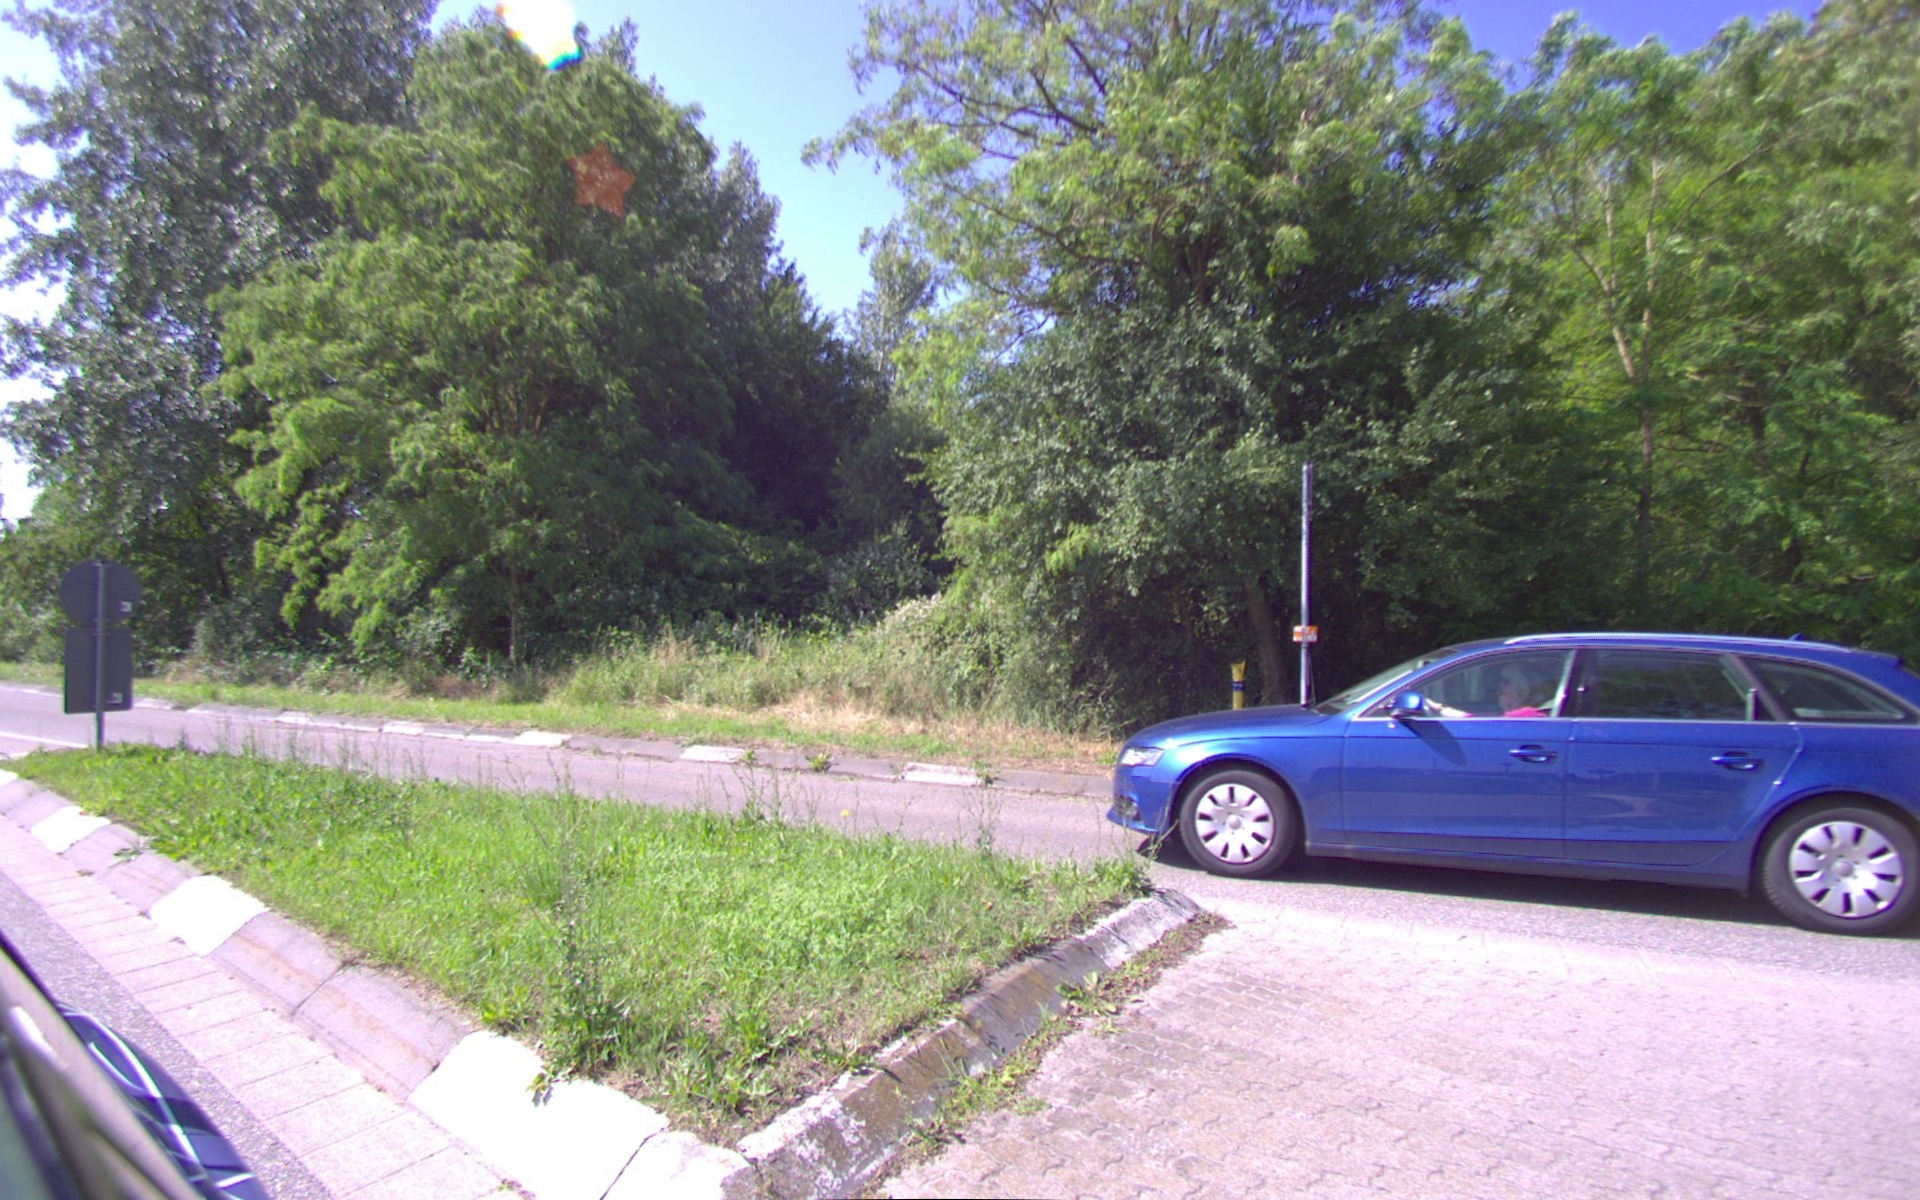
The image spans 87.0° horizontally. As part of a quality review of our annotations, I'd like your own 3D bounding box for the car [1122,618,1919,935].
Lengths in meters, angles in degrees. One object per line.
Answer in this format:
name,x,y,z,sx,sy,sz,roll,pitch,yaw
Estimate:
car,3.290,0.845,5.840,4.392,1.398,1.826,-1,-3,21
